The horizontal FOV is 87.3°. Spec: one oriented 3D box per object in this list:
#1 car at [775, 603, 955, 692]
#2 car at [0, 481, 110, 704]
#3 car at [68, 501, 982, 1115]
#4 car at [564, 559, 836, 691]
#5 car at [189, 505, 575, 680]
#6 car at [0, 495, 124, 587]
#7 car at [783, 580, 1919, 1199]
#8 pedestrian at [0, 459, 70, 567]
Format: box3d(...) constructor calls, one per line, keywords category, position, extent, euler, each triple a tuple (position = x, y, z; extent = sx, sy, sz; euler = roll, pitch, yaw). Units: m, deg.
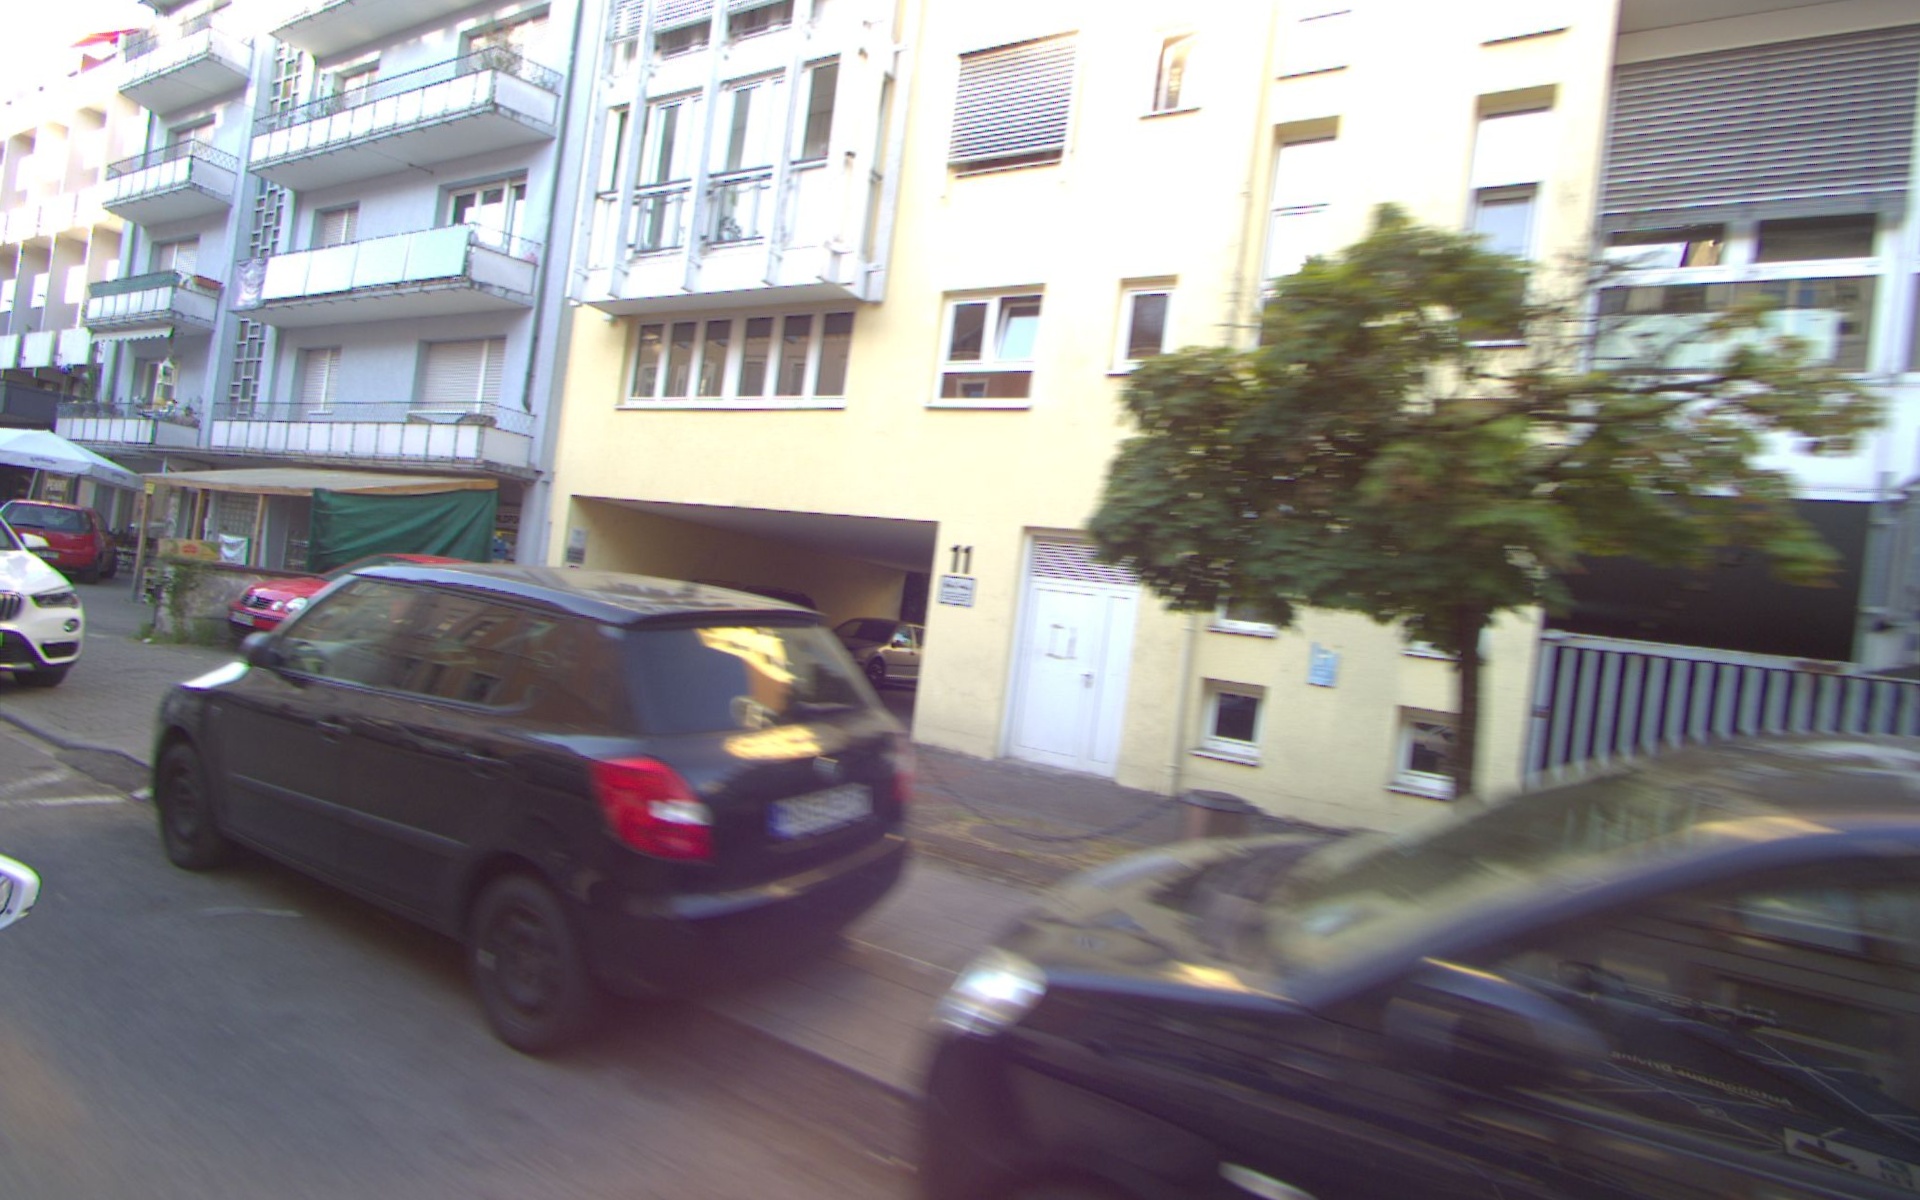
box3d(category="car", position=(-1.851, 1.047, 20.963), extent=(1.730, 1.436, 3.956), euler=(7, -2, 28))
box3d(category="car", position=(-9.160, -0.302, 8.232), extent=(4.509, 1.630, 1.727), euler=(6, -2, 29))
box3d(category="car", position=(-2.121, 0.523, 4.506), extent=(4.056, 1.504, 1.622), euler=(7, 0, 32))
box3d(category="car", position=(-4.097, 0.506, 16.582), extent=(1.965, 1.678, 4.119), euler=(7, -2, 27))
box3d(category="car", position=(-7.267, 0.013, 13.082), extent=(1.666, 1.624, 3.907), euler=(7, -4, 30))
box3d(category="car", position=(-17.371, -1.136, 19.365), extent=(1.591, 1.432, 3.198), euler=(8, -2, -35))
box3d(category="car", position=(1.642, 1.007, 1.872), extent=(3.632, 1.575, 1.626), euler=(7, -2, 32))
box3d(category="pedestrian", position=(-20.323, -1.879, 21.874), extent=(0.938, 2.170, 0.876), euler=(7, -1, 15))
